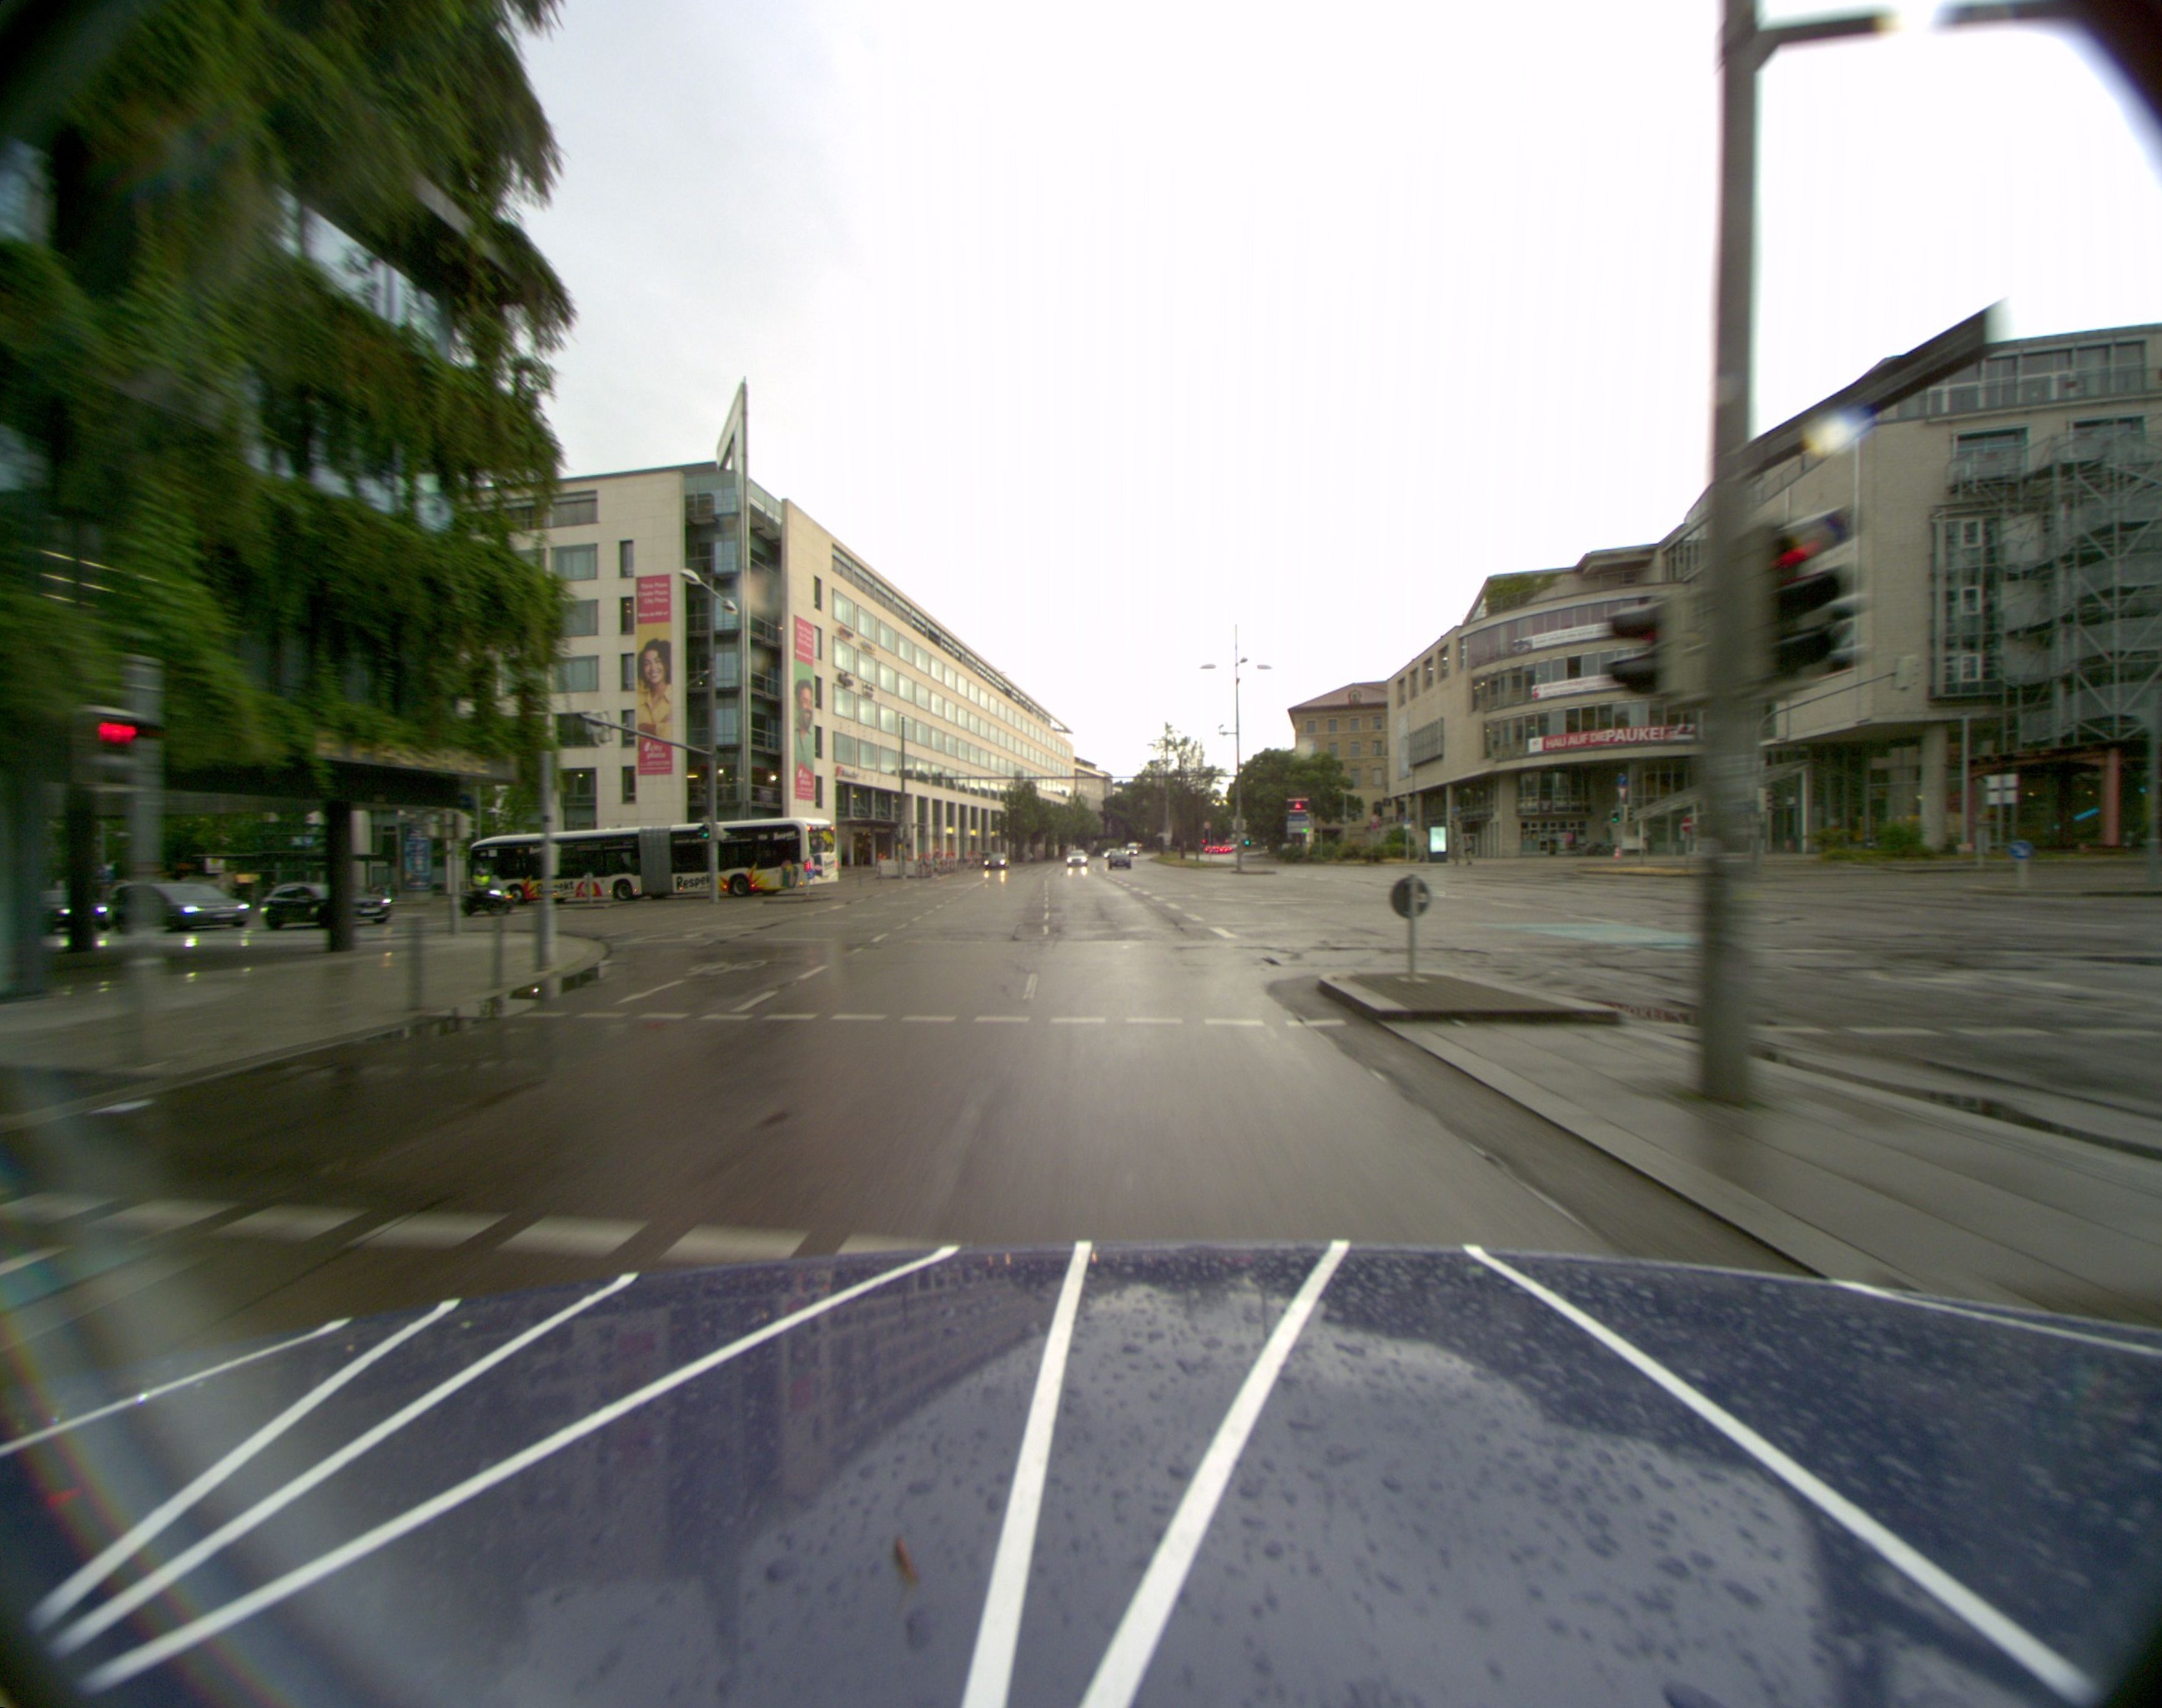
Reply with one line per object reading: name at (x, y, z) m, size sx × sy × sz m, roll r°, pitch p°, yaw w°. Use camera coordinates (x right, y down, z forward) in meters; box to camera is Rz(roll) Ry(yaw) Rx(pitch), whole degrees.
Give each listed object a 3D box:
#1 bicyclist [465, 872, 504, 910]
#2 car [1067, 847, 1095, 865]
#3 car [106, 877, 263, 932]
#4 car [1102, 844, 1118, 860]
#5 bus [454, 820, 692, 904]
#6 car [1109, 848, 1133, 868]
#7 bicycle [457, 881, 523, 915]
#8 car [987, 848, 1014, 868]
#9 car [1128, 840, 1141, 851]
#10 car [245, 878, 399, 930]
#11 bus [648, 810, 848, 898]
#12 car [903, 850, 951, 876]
bicyclist at (-21.997, 1.356, 28.029) m, size 0.742 × 1.328 × 0.797 m, roll -2°, pitch 1°, yaw 19°
car at (0.053, 0.144, 70.576) m, size 1.977 × 1.543 × 4.672 m, roll -1°, pitch 1°, yaw 7°
car at (-32.519, 1.825, 27.577) m, size 4.767 × 1.748 × 1.830 m, roll -3°, pitch 1°, yaw 16°
car at (4.067, -0.253, 105.577) m, size 1.978 × 2.117 × 5.107 m, roll -1°, pitch 1°, yaw 6°
bus at (-24.007, 0.405, 36.015) m, size 10.306 × 3.568 × 2.689 m, roll -2°, pitch 1°, yaw 11°
car at (3.009, 0.292, 57.691) m, size 1.723 × 1.424 × 4.000 m, roll -1°, pitch 1°, yaw 2°
bicycle at (-21.693, 1.625, 27.898) m, size 2.086 × 1.129 × 0.810 m, roll -2°, pitch 1°, yaw 18°
car at (-6.945, 0.324, 65.988) m, size 1.739 × 1.543 × 4.670 m, roll -1°, pitch 1°, yaw 1°
car at (10.743, -1.706, 152.361) m, size 1.997 × 2.002 × 4.003 m, roll -1°, pitch 0°, yaw 11°
car at (-25.882, 1.700, 25.942) m, size 4.195 × 1.490 × 1.830 m, roll -3°, pitch 1°, yaw 16°
bus at (-14.972, 0.032, 34.279) m, size 8.075 × 3.568 × 2.689 m, roll -2°, pitch 1°, yaw 12°
car at (-10.272, 0.571, 51.095) m, size 1.738 × 1.543 × 4.672 m, roll -1°, pitch 1°, yaw 7°
